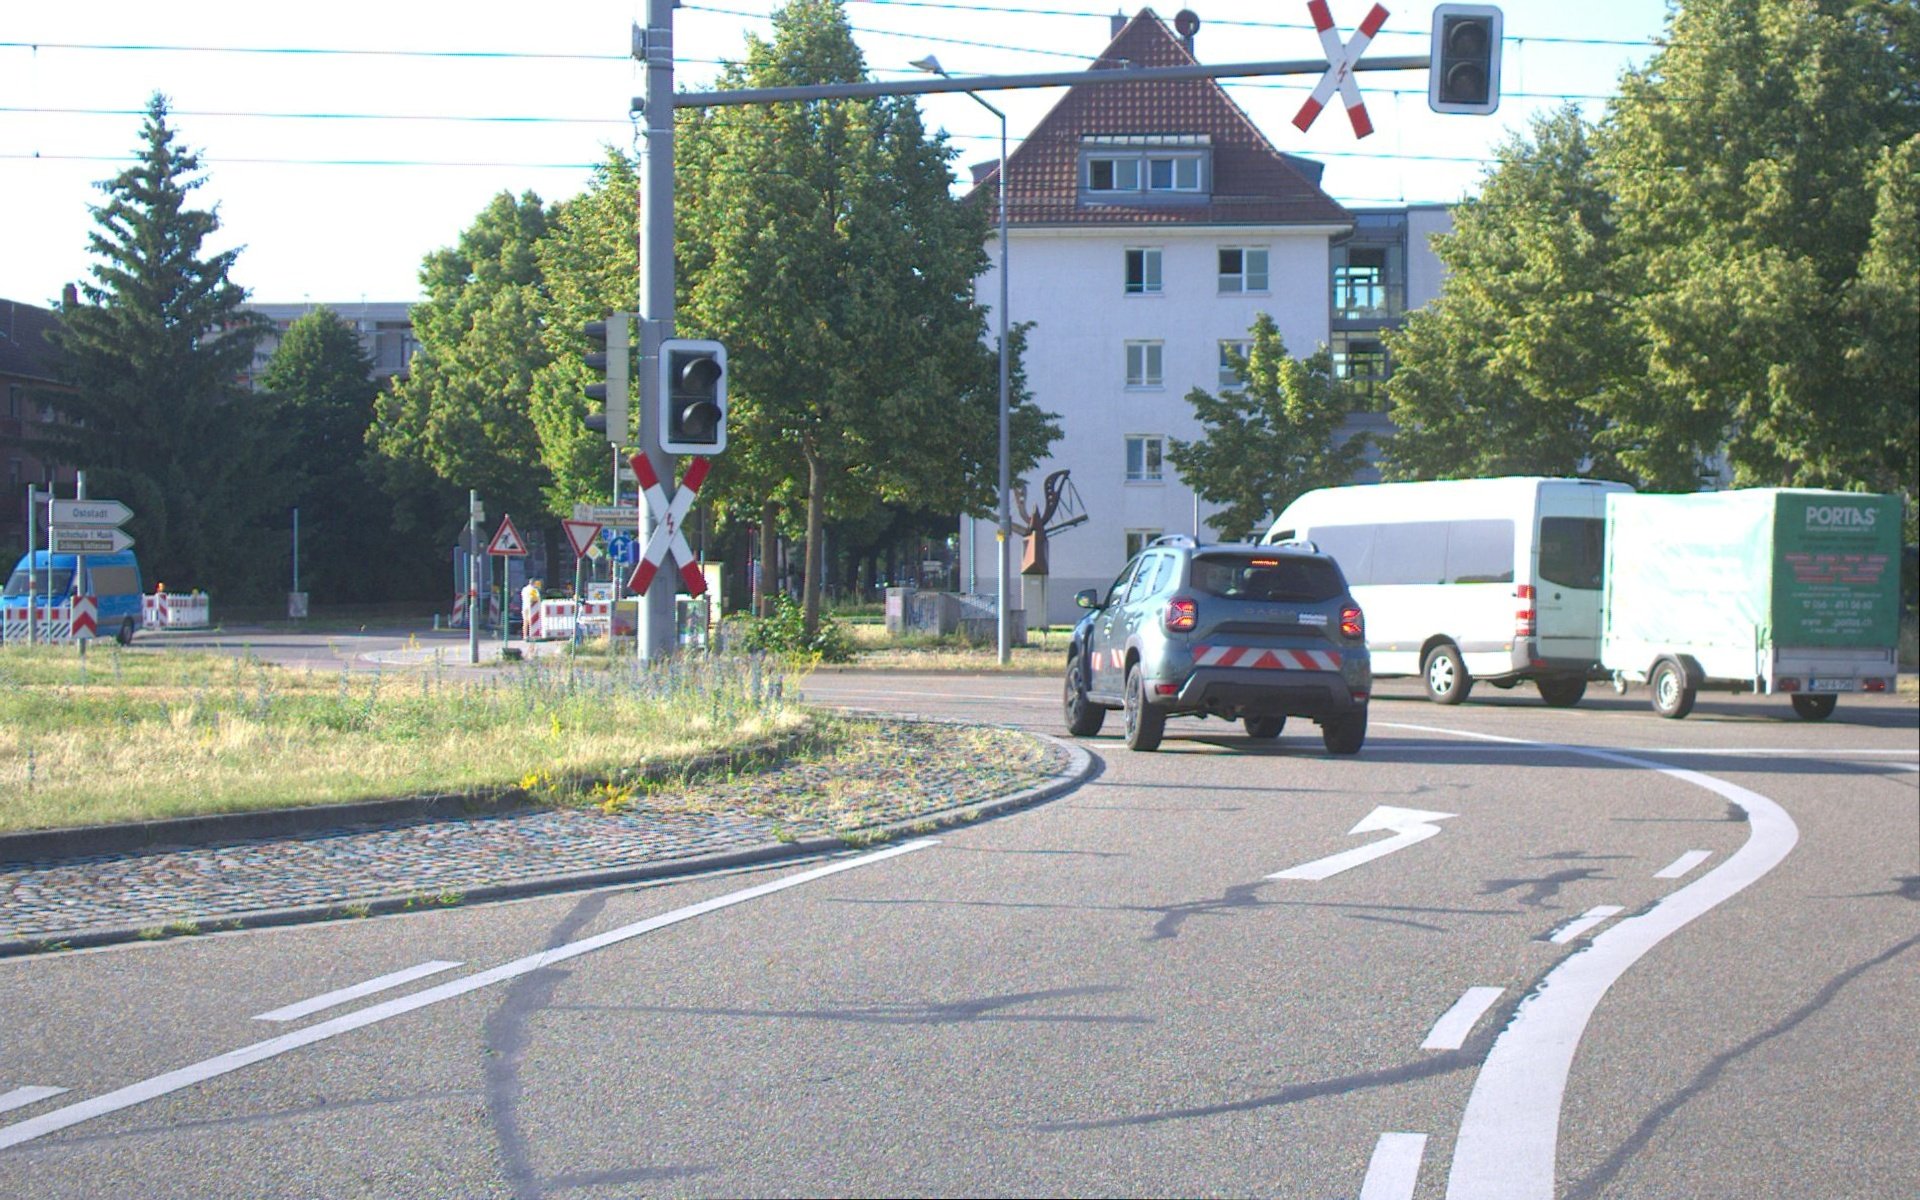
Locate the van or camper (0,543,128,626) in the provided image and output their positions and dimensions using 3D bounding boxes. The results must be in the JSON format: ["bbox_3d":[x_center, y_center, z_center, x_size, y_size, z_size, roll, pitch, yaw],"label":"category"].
[{"bbox_3d":[-23.730,-0.425,90.635,2.094,2.147,4.422,0,1,6],"label":"van or camper"}]

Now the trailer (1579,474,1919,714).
[{"bbox_3d":[8.470,-0.062,36.563,2.089,2.392,3.502,2,0,-23],"label":"trailer"}]

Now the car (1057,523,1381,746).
[{"bbox_3d":[1.989,0.244,27.544,1.905,1.654,4.001,0,0,-6],"label":"car"}]

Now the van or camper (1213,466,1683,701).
[{"bbox_3d":[5.784,-0.221,41.911,2.284,2.620,6.584,1,0,-26],"label":"van or camper"}]
